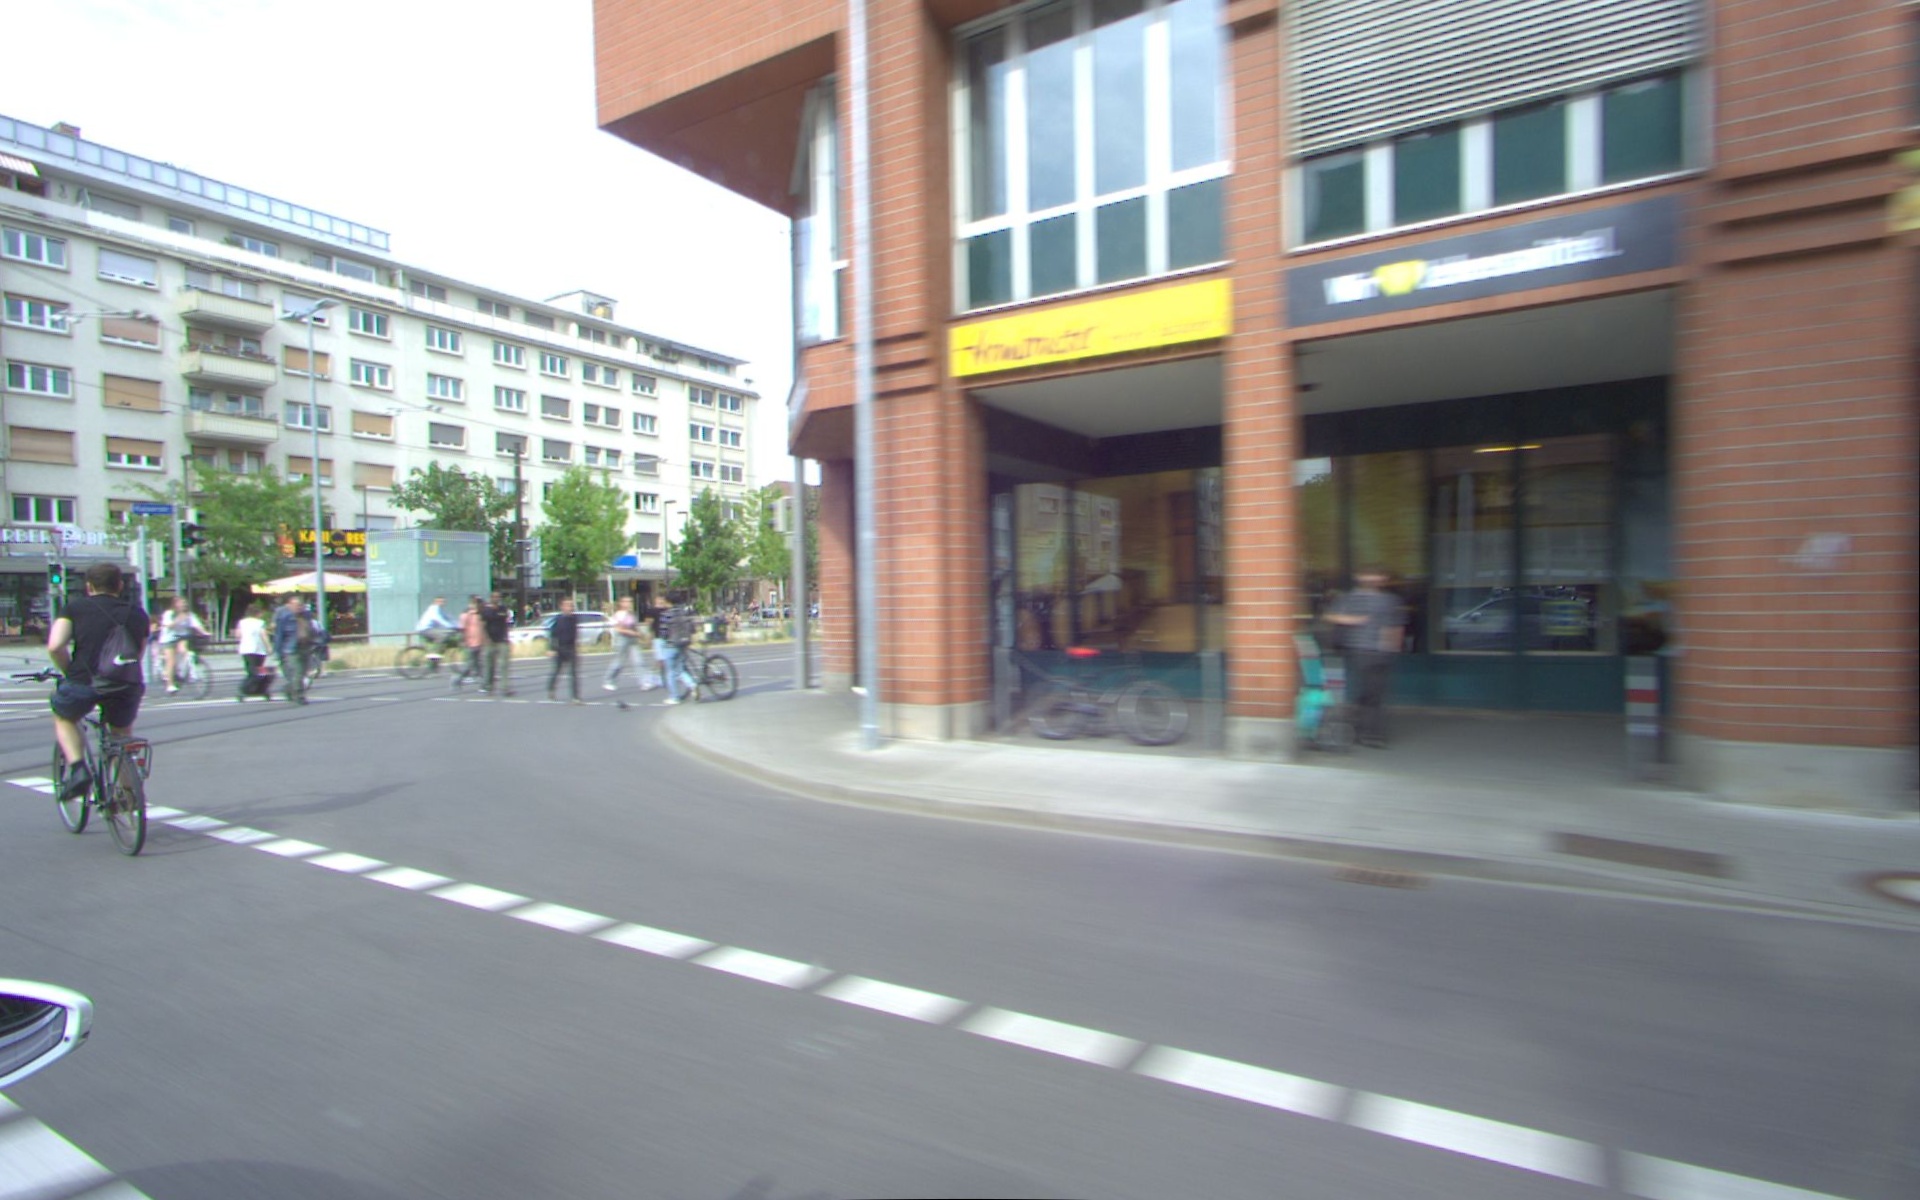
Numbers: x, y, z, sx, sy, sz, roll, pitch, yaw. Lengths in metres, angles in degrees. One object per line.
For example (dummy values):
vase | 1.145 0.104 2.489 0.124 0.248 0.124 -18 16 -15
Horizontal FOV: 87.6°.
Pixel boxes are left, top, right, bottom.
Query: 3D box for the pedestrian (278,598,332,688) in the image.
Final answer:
pedestrian | -12.780 0.815 19.545 0.696 1.718 0.632 0 1 32

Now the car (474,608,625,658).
car | -14.258 1.090 35.040 1.972 1.532 4.578 -1 0 32

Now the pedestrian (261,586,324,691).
pedestrian | -12.264 0.699 18.412 0.864 1.879 0.637 0 1 32

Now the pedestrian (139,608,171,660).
pedestrian | -26.114 1.107 32.499 0.433 1.663 0.675 0 1 31

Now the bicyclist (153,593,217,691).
bicyclist | -14.001 0.744 18.087 0.850 1.732 0.639 0 1 32

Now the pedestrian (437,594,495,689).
pedestrian | -8.983 0.734 18.195 0.880 1.674 0.540 0 1 32

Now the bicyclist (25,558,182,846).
bicyclist | -5.564 0.621 6.506 0.851 1.732 0.557 0 1 35

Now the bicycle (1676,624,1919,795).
bicycle | 6.670 0.793 7.740 0.621 1.099 1.739 -6 4 -32

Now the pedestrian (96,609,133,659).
pedestrian | -27.762 1.112 32.896 0.409 1.597 0.817 0 1 33

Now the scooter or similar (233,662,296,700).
scooter or similar | -11.663 1.351 16.795 0.802 0.581 0.507 -1 0 22

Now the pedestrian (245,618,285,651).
pedestrian | -27.068 1.361 39.013 0.922 1.261 1.029 -1 -2 34

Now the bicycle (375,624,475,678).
bicycle | -11.760 1.110 22.063 1.888 1.101 0.390 -1 1 -23

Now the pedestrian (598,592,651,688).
pedestrian | -6.148 0.718 18.374 0.641 1.711 0.645 0 1 32

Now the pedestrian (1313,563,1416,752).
pedestrian | 3.833 0.528 9.525 0.684 1.719 0.647 -2 2 1

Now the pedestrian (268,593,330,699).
pedestrian | -10.969 0.748 16.622 0.591 1.710 0.637 0 1 32

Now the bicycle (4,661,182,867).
bicycle | -5.790 1.014 6.644 1.990 1.137 0.404 0 1 35

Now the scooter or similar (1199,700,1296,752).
scooter or similar | 2.791 1.216 9.734 0.878 0.424 0.262 0 1 30

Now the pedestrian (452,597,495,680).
pedestrian | -9.971 0.774 20.559 0.709 1.670 0.705 -1 1 -21

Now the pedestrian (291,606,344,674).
pedestrian | -14.862 0.921 23.166 0.832 1.520 0.552 -2 0 16

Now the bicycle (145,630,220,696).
bicycle | -14.103 1.110 18.145 2.047 1.137 0.389 -1 1 33

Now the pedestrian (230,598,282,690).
pedestrian | -13.413 0.829 19.073 0.783 1.708 0.468 -1 1 27

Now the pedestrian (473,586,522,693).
pedestrian | -8.037 0.672 17.398 0.553 1.821 0.540 0 1 32

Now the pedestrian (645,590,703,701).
pedestrian | -4.510 0.707 15.803 0.715 1.708 0.518 0 1 32

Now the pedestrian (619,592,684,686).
pedestrian | -5.890 0.729 19.133 1.041 1.737 0.645 0 1 32

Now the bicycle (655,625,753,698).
bicycle | -4.146 0.971 16.144 1.804 1.125 0.395 -1 1 33

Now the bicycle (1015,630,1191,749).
bicycle | 1.446 0.879 10.255 1.673 1.107 0.564 -1 3 31

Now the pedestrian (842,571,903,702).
pedestrian | -1.271 0.533 14.565 0.685 1.847 0.566 -1 -1 31

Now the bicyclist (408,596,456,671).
bicyclist | -11.700 0.736 22.220 0.848 1.624 0.640 -1 1 -23

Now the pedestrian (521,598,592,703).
pedestrian | -6.465 0.787 16.044 0.908 1.622 0.617 -1 1 32

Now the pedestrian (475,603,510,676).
pedestrian | -9.947 0.832 21.330 0.619 1.531 0.591 -1 1 -21
